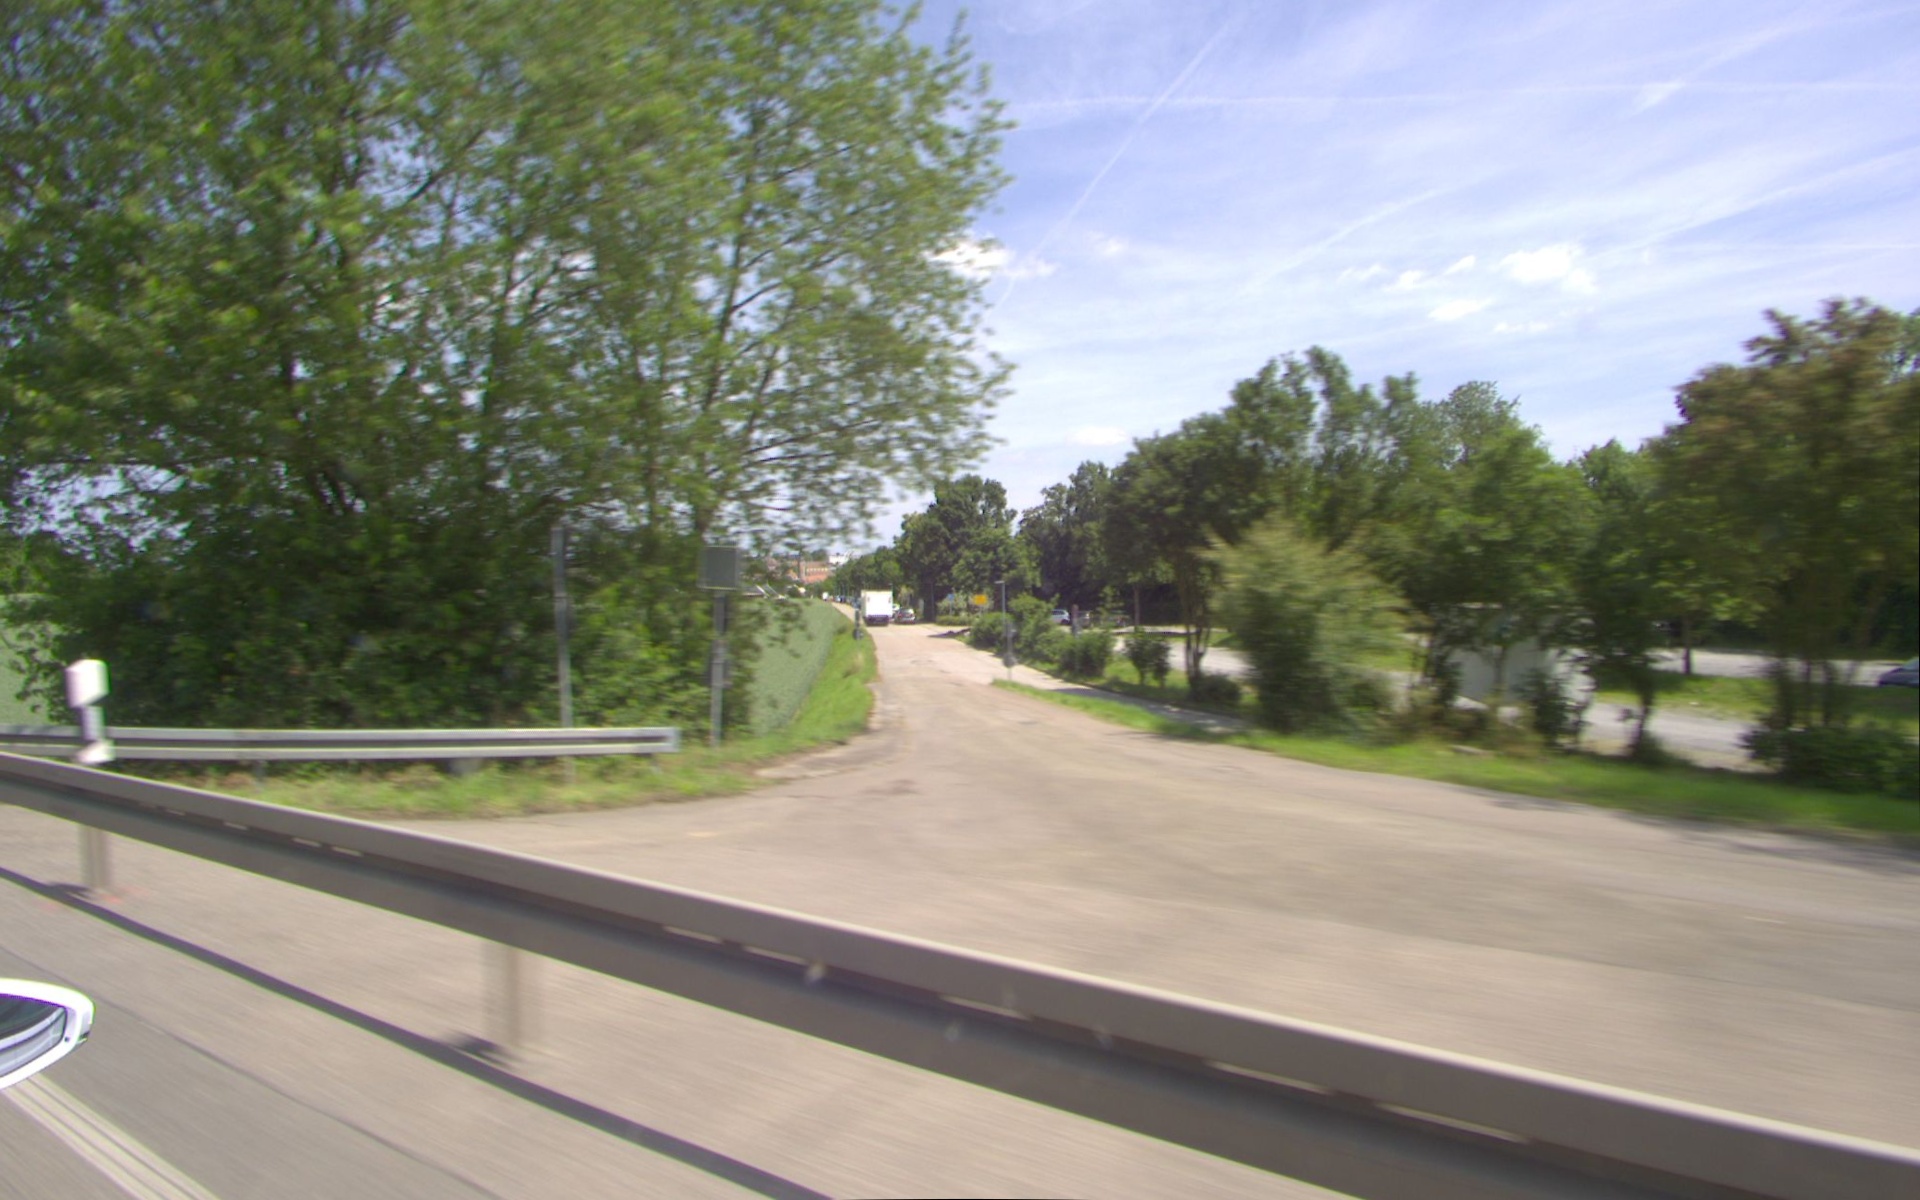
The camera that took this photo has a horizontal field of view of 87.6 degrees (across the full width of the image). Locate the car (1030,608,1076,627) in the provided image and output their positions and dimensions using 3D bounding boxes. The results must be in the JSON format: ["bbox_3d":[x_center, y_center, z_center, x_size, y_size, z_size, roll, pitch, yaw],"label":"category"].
[{"bbox_3d":[8.541,1.622,92.156,3.927,1.561,1.998,-3,-2,15],"label":"car"}]

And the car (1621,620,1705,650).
[{"bbox_3d":[40.288,1.966,57.406,4.094,1.512,1.897,-1,2,-19],"label":"car"}]

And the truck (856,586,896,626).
[{"bbox_3d":[-8.254,0.488,97.877,3.093,3.584,7.129,-2,2,-10],"label":"truck"}]

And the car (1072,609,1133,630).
[{"bbox_3d":[12.285,1.650,86.638,4.854,1.726,1.993,1,0,26],"label":"car"}]

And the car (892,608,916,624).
[{"bbox_3d":[-5.672,1.611,100.353,1.805,1.427,4.440,-2,1,-11],"label":"car"}]

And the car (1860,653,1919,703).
[{"bbox_3d":[33.232,2.625,34.196,3.625,1.512,1.693,0,1,-6],"label":"car"}]
